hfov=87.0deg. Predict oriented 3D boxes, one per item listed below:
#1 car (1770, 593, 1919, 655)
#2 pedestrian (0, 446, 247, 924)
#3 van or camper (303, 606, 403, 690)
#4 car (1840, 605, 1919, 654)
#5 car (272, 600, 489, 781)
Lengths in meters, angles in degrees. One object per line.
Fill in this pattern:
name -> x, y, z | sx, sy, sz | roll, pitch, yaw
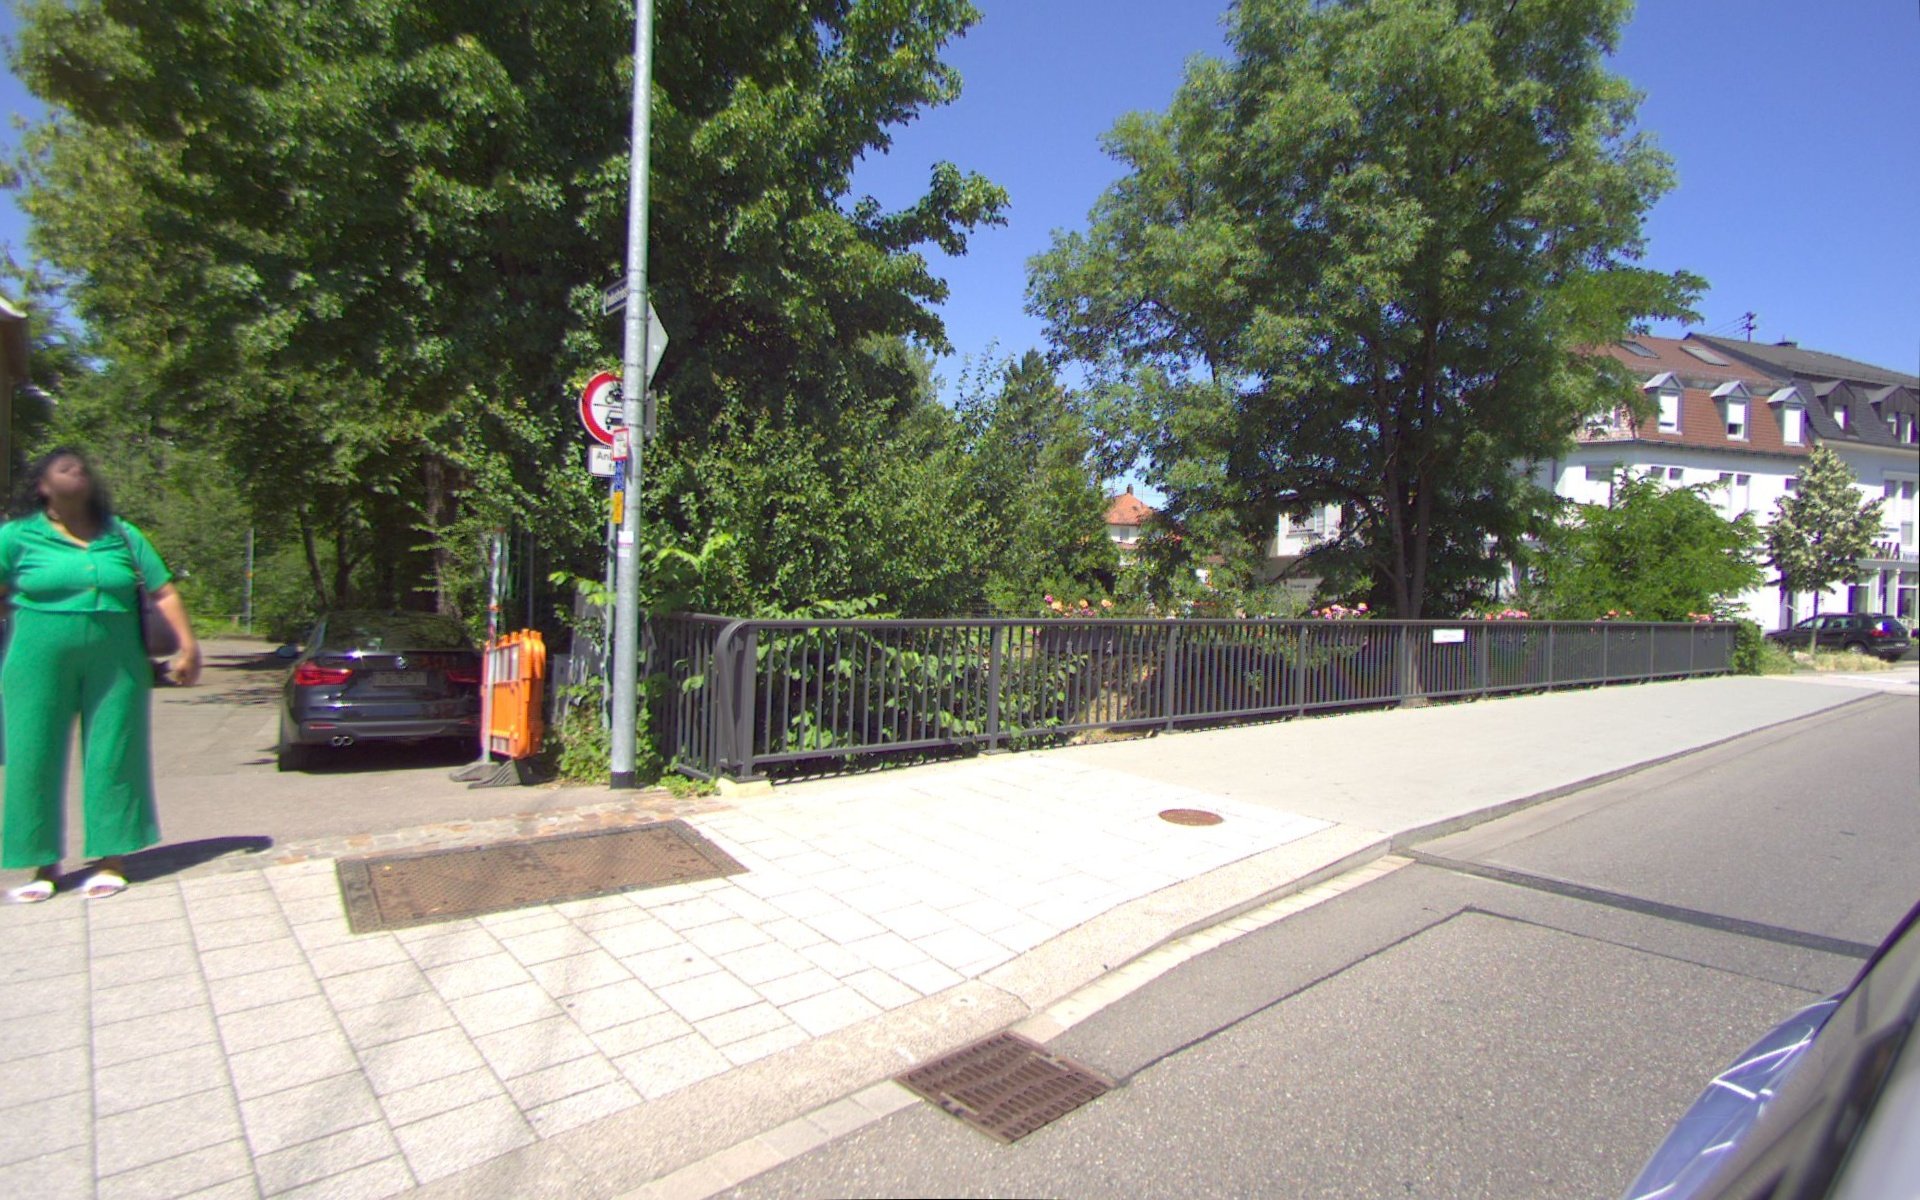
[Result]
car -> 30.997, 0.816, 35.186 | 1.958, 2.039, 4.007 | 1, -1, -14
pedestrian -> -3.484, 0.289, 4.080 | 0.517, 1.727, 0.796 | 6, 3, 29
van or camper -> -12.781, 0.951, 21.445 | 1.643, 1.594, 3.539 | 1, -1, -29
car -> 34.332, 1.062, 36.097 | 1.958, 1.691, 4.008 | 1, 0, -14
car -> -6.173, 0.826, 10.604 | 1.613, 1.486, 4.405 | 1, -3, -33
